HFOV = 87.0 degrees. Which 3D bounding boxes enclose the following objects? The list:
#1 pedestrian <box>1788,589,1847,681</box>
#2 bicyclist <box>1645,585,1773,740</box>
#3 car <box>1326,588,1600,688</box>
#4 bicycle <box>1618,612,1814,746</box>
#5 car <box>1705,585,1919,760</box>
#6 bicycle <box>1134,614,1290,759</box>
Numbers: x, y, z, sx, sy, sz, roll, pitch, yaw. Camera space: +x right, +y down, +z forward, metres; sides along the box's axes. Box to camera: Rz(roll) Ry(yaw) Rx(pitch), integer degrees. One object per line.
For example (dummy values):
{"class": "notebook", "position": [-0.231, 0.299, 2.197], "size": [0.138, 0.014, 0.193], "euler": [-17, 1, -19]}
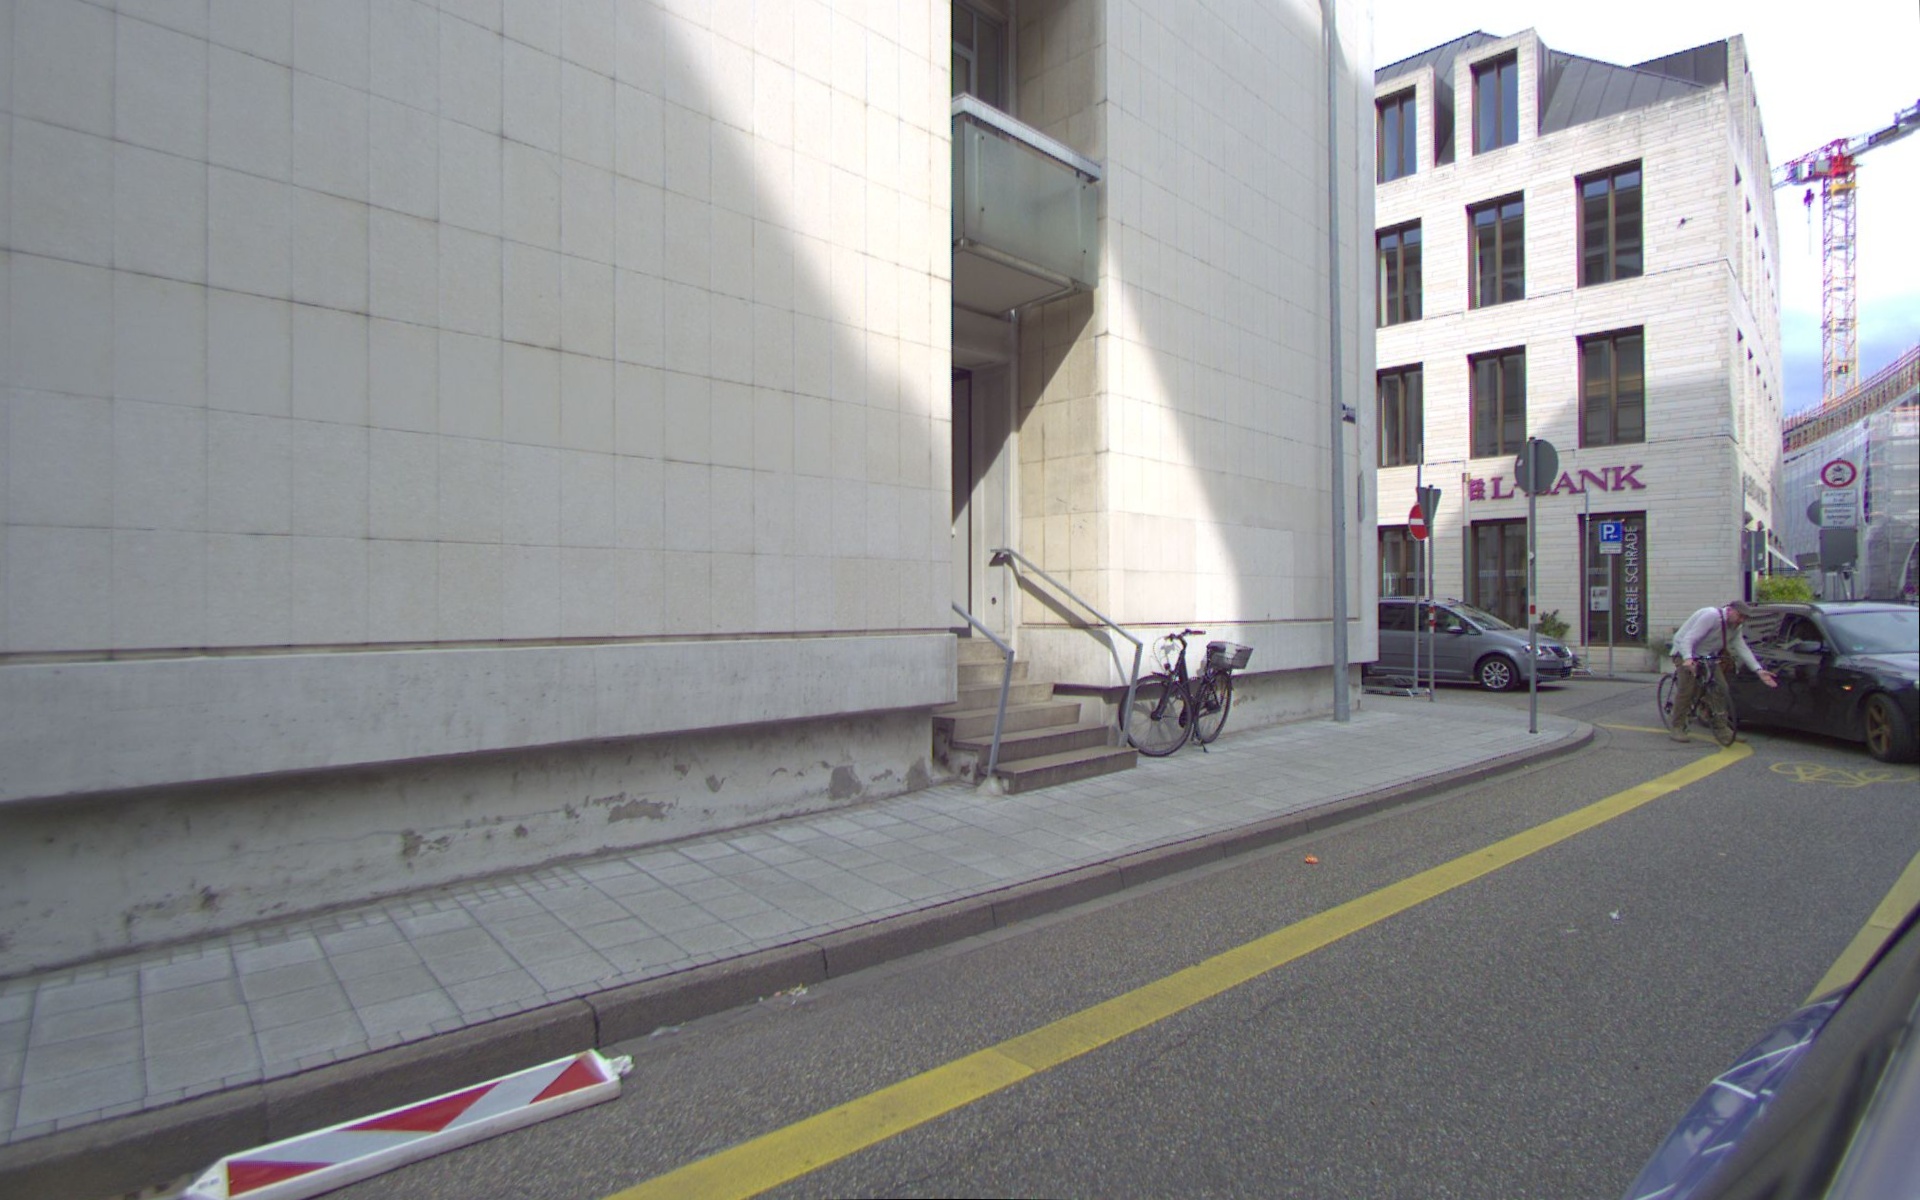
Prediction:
{"class": "pedestrian", "position": [17.751, 0.702, 20.969], "size": [0.767, 1.854, 0.853], "euler": [0, 0, 29]}
{"class": "bicyclist", "position": [8.153, 0.643, 11.065], "size": [0.881, 1.614, 0.872], "euler": [0, 0, 19]}
{"class": "car", "position": [9.142, 0.603, 18.660], "size": [1.784, 1.610, 4.187], "euler": [-1, 1, -42]}
{"class": "bicycle", "position": [8.191, 0.776, 11.157], "size": [0.860, 1.209, 2.847], "euler": [0, 0, 18]}
{"class": "car", "position": [9.393, 0.615, 10.047], "size": [1.690, 1.509, 3.754], "euler": [-1, 0, 10]}
{"class": "bicycle", "position": [2.368, 0.741, 9.375], "size": [0.589, 1.182, 1.786], "euler": [0, 0, 44]}
